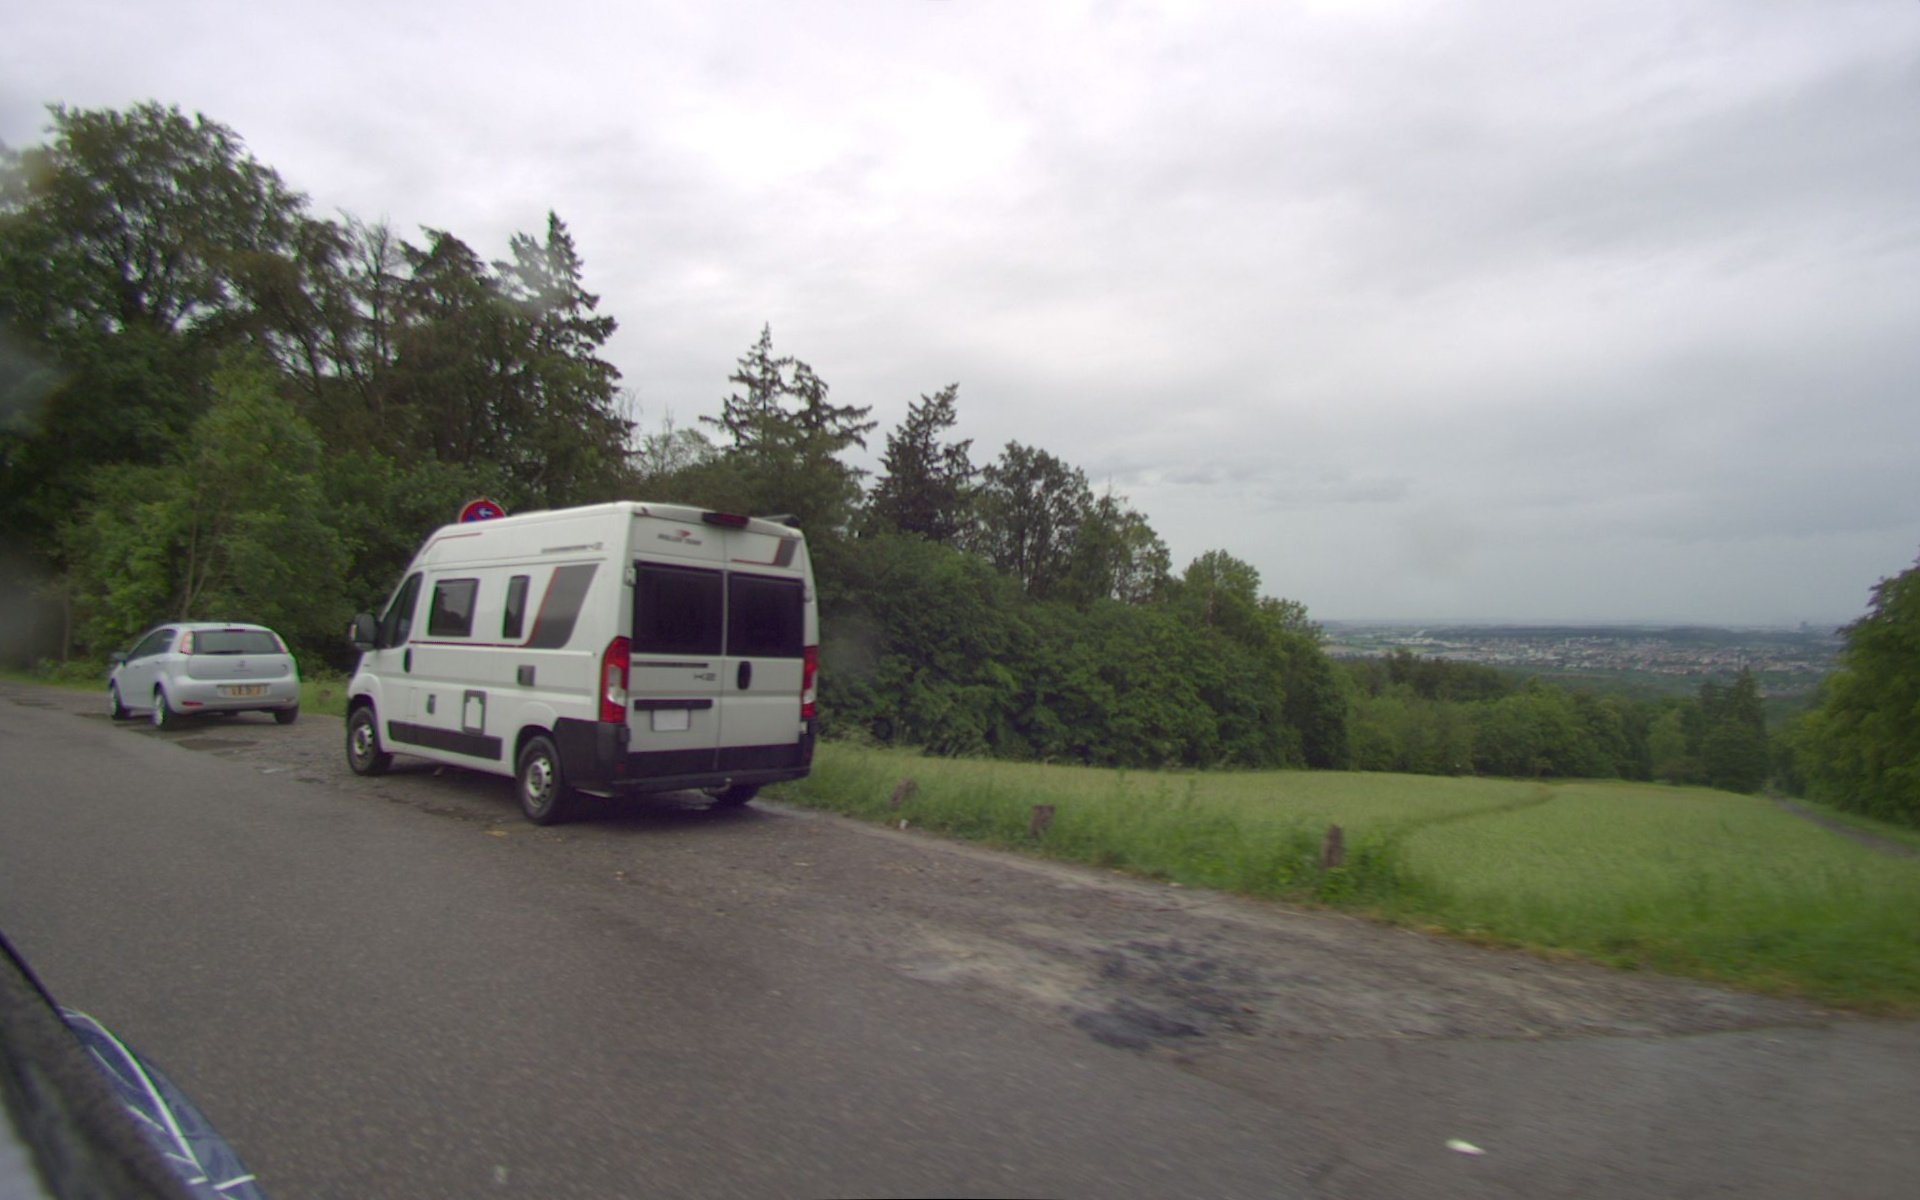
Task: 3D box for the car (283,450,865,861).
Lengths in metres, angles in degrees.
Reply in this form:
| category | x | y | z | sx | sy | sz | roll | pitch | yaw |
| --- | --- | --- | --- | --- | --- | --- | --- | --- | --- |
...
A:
| category | x | y | z | sx | sy | sz | roll | pitch | yaw |
| --- | --- | --- | --- | --- | --- | --- | --- | --- | --- |
| car | -3.863 | 0.557 | 9.464 | 6.041 | 2.718 | 2.250 | -3 | -6 | 38 |

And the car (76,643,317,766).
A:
| category | x | y | z | sx | sy | sz | roll | pitch | yaw |
| --- | --- | --- | --- | --- | --- | --- | --- | --- | --- |
| car | -11.731 | 1.522 | 15.450 | 4.489 | 1.608 | 1.843 | -3 | -5 | 39 |
